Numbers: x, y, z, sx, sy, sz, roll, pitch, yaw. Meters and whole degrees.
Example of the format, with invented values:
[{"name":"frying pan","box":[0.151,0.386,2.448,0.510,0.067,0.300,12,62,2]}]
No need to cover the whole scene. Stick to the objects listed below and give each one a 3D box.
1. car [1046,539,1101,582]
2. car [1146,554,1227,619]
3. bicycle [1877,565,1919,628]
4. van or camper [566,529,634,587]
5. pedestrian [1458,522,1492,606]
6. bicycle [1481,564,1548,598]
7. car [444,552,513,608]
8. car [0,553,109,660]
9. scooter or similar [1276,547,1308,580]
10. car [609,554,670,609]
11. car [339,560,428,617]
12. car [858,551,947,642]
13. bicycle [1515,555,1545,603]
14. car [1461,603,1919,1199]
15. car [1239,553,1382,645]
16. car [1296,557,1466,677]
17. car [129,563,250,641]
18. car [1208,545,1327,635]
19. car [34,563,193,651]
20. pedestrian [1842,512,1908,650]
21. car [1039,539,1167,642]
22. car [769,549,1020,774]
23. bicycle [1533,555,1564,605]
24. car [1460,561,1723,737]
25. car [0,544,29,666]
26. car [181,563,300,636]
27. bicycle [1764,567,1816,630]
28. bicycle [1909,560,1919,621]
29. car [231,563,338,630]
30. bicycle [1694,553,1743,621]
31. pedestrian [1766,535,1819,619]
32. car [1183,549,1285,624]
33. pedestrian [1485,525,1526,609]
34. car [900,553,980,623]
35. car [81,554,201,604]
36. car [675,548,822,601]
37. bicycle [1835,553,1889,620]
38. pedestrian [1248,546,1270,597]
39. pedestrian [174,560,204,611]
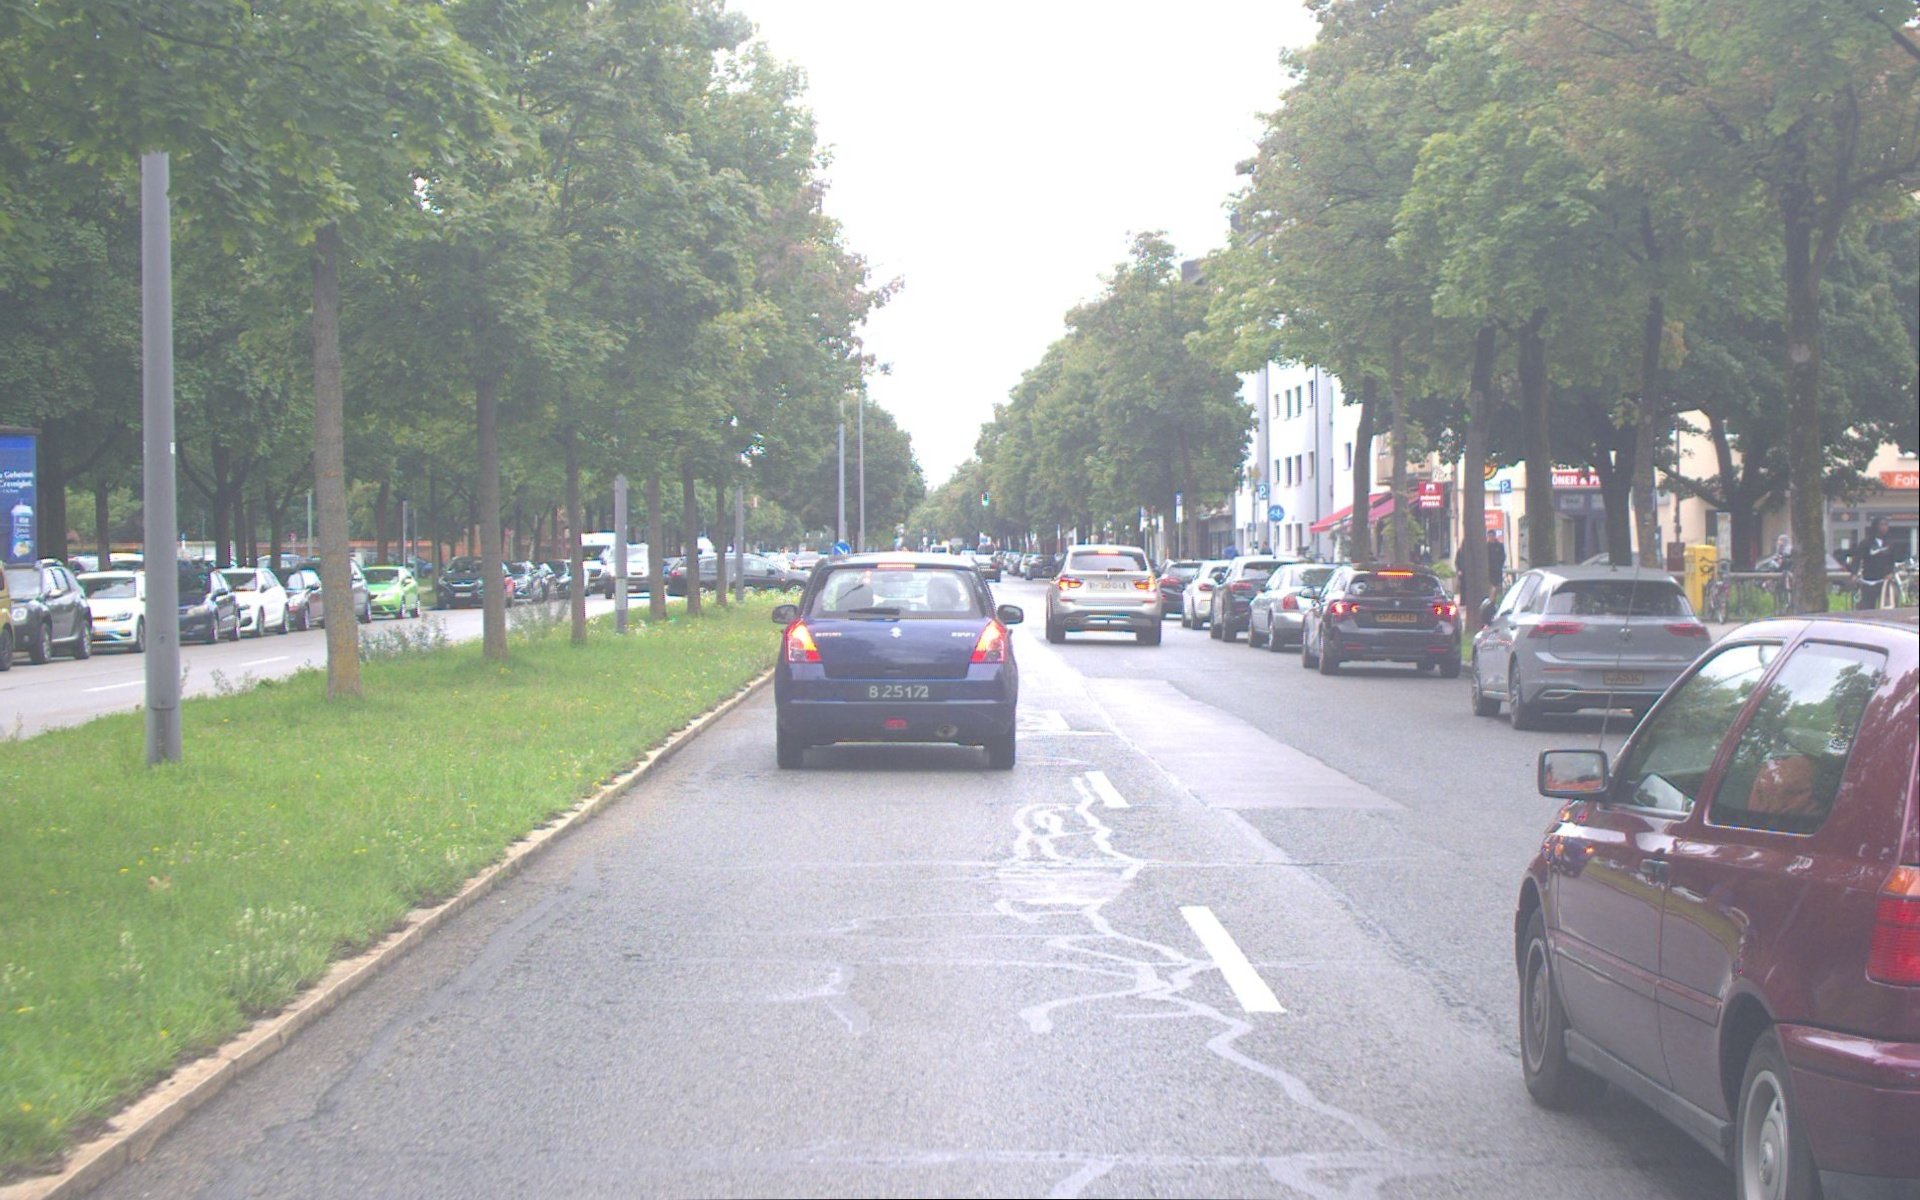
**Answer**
[{"name":"car","box":[4.480,-1.580,135.851,1.865,1.677,4.225,-1,1,-2]},{"name":"car","box":[5.403,-0.332,82.383,1.617,1.460,3.674,2,1,0]},{"name":"bicycle","box":[16.000,-0.064,58.219,0.431,1.025,1.883,-1,1,1]},{"name":"van or camper","box":[-15.775,-1.833,150.963,2.117,2.473,7.449,1,0,1]},{"name":"pedestrian","box":[11.610,-0.808,77.551,0.588,1.883,0.902,-1,0,-1]},{"name":"bicycle","box":[16.316,-0.561,101.209,1.847,0.954,0.557,1,0,-1]},{"name":"car","box":[-15.323,-0.649,109.558,1.716,1.735,3.879,1,0,-1]},{"name":"car","box":[-15.178,0.084,55.710,1.736,1.640,4.256,-2,1,-1]},{"name":"scooter or similar","box":[13.504,-1.498,139.827,1.033,1.303,2.755,0,1,0]},{"name":"car","box":[-11.706,-0.693,125.717,1.799,1.927,4.994,-2,1,-1]},{"name":"car","box":[-15.422,-0.322,92.170,1.548,1.404,3.879,-2,1,2]},{"name":"car","box":[-0.979,-0.075,57.856,1.444,1.478,3.107,0,1,-1]},{"name":"bicycle","box":[13.216,-0.492,79.706,0.389,1.101,1.853,1,0,0]},{"name":"car","box":[2.364,0.741,8.063,1.682,1.379,3.919,1,1,-2]},{"name":"car","box":[5.628,-0.039,55.707,1.636,1.381,4.245,1,1,-3]},{"name":"car","box":[5.498,0.189,45.305,1.750,1.460,4.176,1,1,1]},{"name":"car","box":[-14.996,0.014,67.063,1.613,1.412,3.898,-2,1,-3]},{"name":"car","box":[5.496,-0.201,61.932,1.716,1.528,4.276,1,1,0]},{"name":"car","box":[-15.188,0.095,61.868,1.762,1.445,4.533,-2,1,-1]},{"name":"pedestrian","box":[11.796,-0.255,44.347,0.639,1.743,0.849,-2,1,6]},{"name":"car","box":[2.394,-0.189,58.653,1.865,1.655,4.408,1,1,-1]},{"name":"car","box":[-0.483,0.386,25.074,1.682,1.496,3.919,0,1,-1]},{"name":"bicycle","box":[13.243,-0.451,77.399,0.381,1.099,1.883,1,0,0]},{"name":"car","box":[5.729,0.399,31.618,1.682,1.460,4.115,1,1,1]},{"name":"car","box":[-14.912,0.122,49.088,1.814,1.777,4.817,-2,1,1]},{"name":"car","box":[-15.244,-0.034,72.991,1.607,1.439,4.279,-2,1,0]},{"name":"bicycle","box":[14.132,-0.031,58.560,0.431,1.025,1.883,-1,1,1]},{"name":"bicycle","box":[16.548,-0.156,58.203,0.431,1.025,1.883,-1,1,1]},{"name":"car","box":[-15.297,-0.098,78.050,1.591,1.392,3.630,-2,1,1]},{"name":"bicycle","box":[13.021,-0.234,59.058,0.431,1.129,1.884,-1,1,1]},{"name":"pedestrian","box":[16.772,-0.458,69.293,0.838,1.675,0.835,-1,0,-1]},{"name":"car","box":[5.716,-0.309,72.037,1.682,1.460,4.137,2,1,-1]},{"name":"pedestrian","box":[12.293,-0.740,77.549,0.729,1.883,0.919,-1,0,-1]},{"name":"car","box":[-0.430,-0.278,74.385,1.682,1.458,3.734,0,1,0]},{"name":"car","box":[-28.983,-0.734,121.700,3.918,1.712,1.673,1,0,-5]},{"name":"car","box":[-6.049,-0.737,98.164,4.121,1.463,1.840,0,1,-6]},{"name":"bicycle","box":[15.295,-0.241,58.314,0.431,1.097,1.883,-1,1,1]},{"name":"pedestrian","box":[11.772,-1.132,135.473,0.794,2.007,1.006,0,1,0]},{"name":"pedestrian","box":[-23.346,-0.443,104.123,0.727,1.528,0.721,1,0,0]}]
